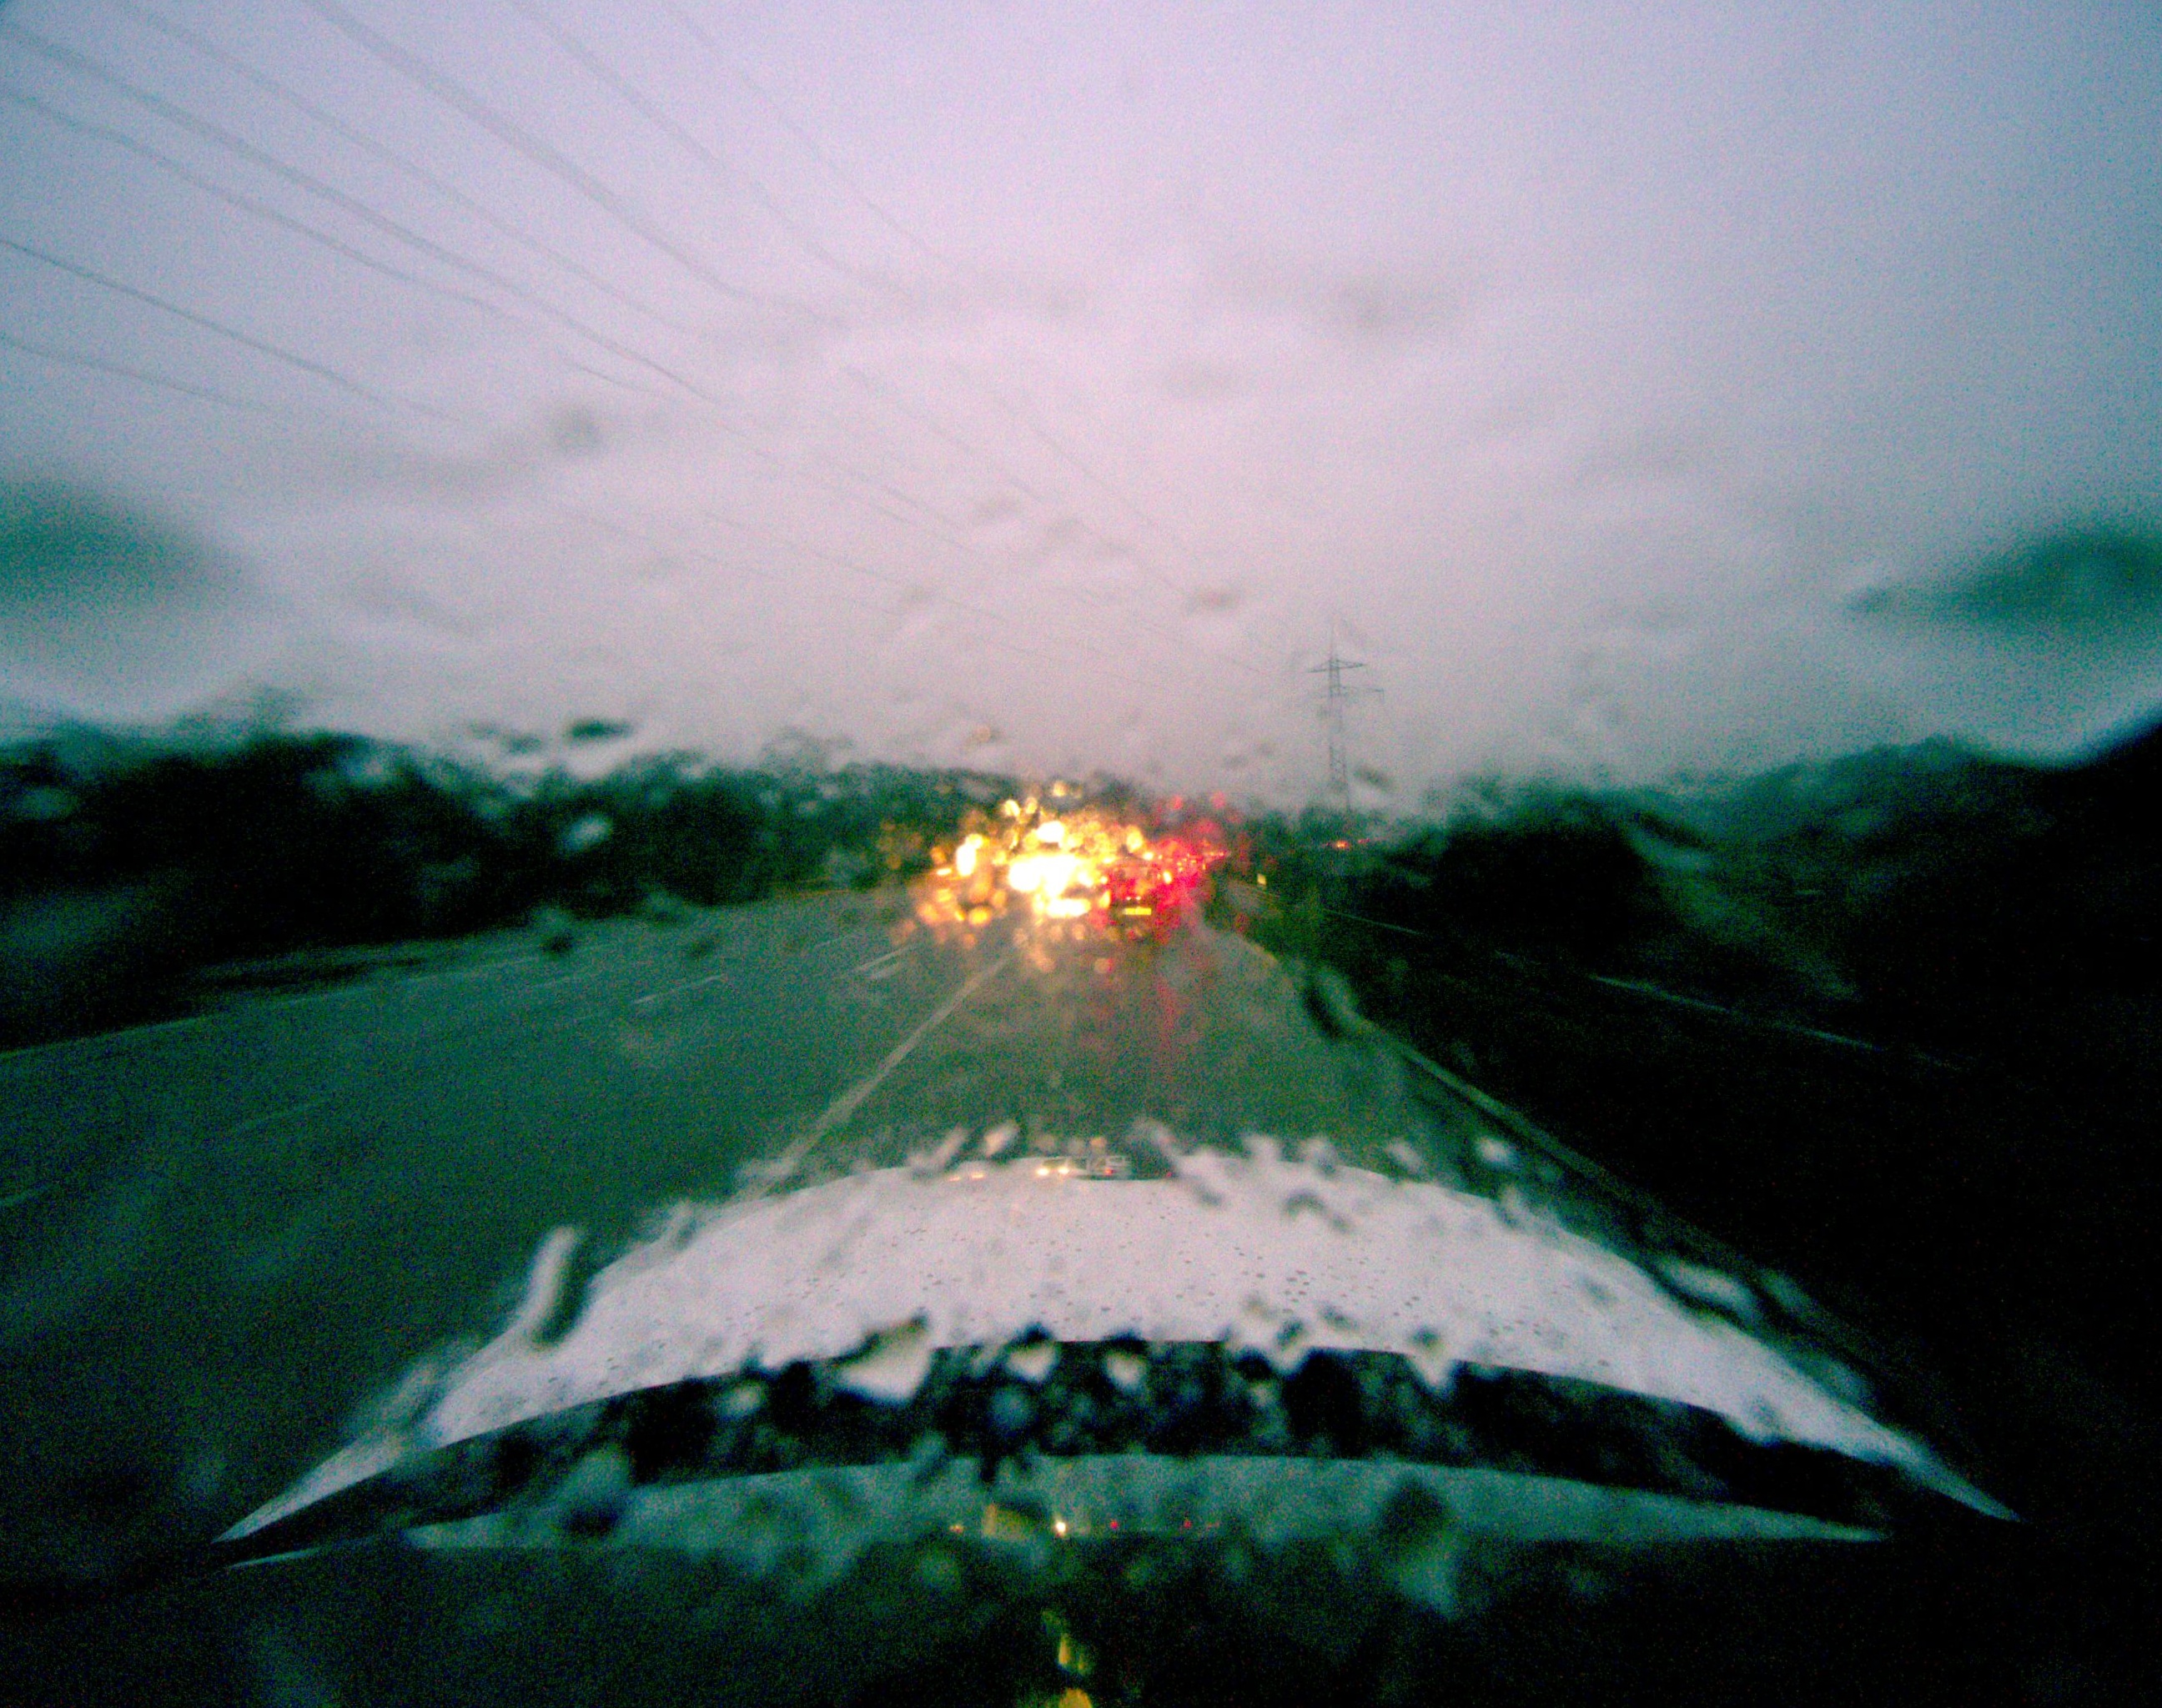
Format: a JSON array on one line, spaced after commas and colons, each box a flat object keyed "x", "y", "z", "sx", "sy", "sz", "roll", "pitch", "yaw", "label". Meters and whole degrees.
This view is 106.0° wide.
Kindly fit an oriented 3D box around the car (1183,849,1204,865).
[{"x": 12.569, "y": 0.321, "z": 91.023, "sx": 1.933, "sy": 1.744, "sz": 4.014, "roll": -2, "pitch": 0, "yaw": 13, "label": "car"}]

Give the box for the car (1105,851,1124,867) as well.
[{"x": 3.516, "y": 0.510, "z": 85.027, "sx": 1.627, "sy": 1.472, "sz": 4.458, "roll": 2, "pitch": 1, "yaw": 7, "label": "car"}]

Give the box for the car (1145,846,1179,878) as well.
[{"x": 5.380, "y": 0.478, "z": 53.620, "sx": 1.934, "sy": 2.013, "sz": 4.011, "roll": -1, "pitch": 0, "yaw": 9, "label": "car"}]

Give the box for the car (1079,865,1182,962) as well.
[{"x": 0.886, "y": 1.086, "z": 16.521, "sx": 1.725, "sy": 1.532, "sz": 4.042, "roll": -4, "pitch": 0, "yaw": 0, "label": "car"}]

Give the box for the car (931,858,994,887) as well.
[{"x": -5.706, "y": 0.854, "z": 39.571, "sx": 1.584, "sy": 1.244, "sz": 4.015, "roll": 2, "pitch": 1, "yaw": 14, "label": "car"}]

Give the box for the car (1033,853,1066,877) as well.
[{"x": -1.984, "y": 0.658, "z": 51.655, "sx": 1.687, "sy": 1.417, "sz": 4.004, "roll": 0, "pitch": 0, "yaw": 4, "label": "car"}]

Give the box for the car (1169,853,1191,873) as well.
[{"x": 9.026, "y": 0.759, "z": 74.374, "sx": 1.936, "sy": 1.745, "sz": 4.008, "roll": -1, "pitch": 0, "yaw": 7, "label": "car"}]
